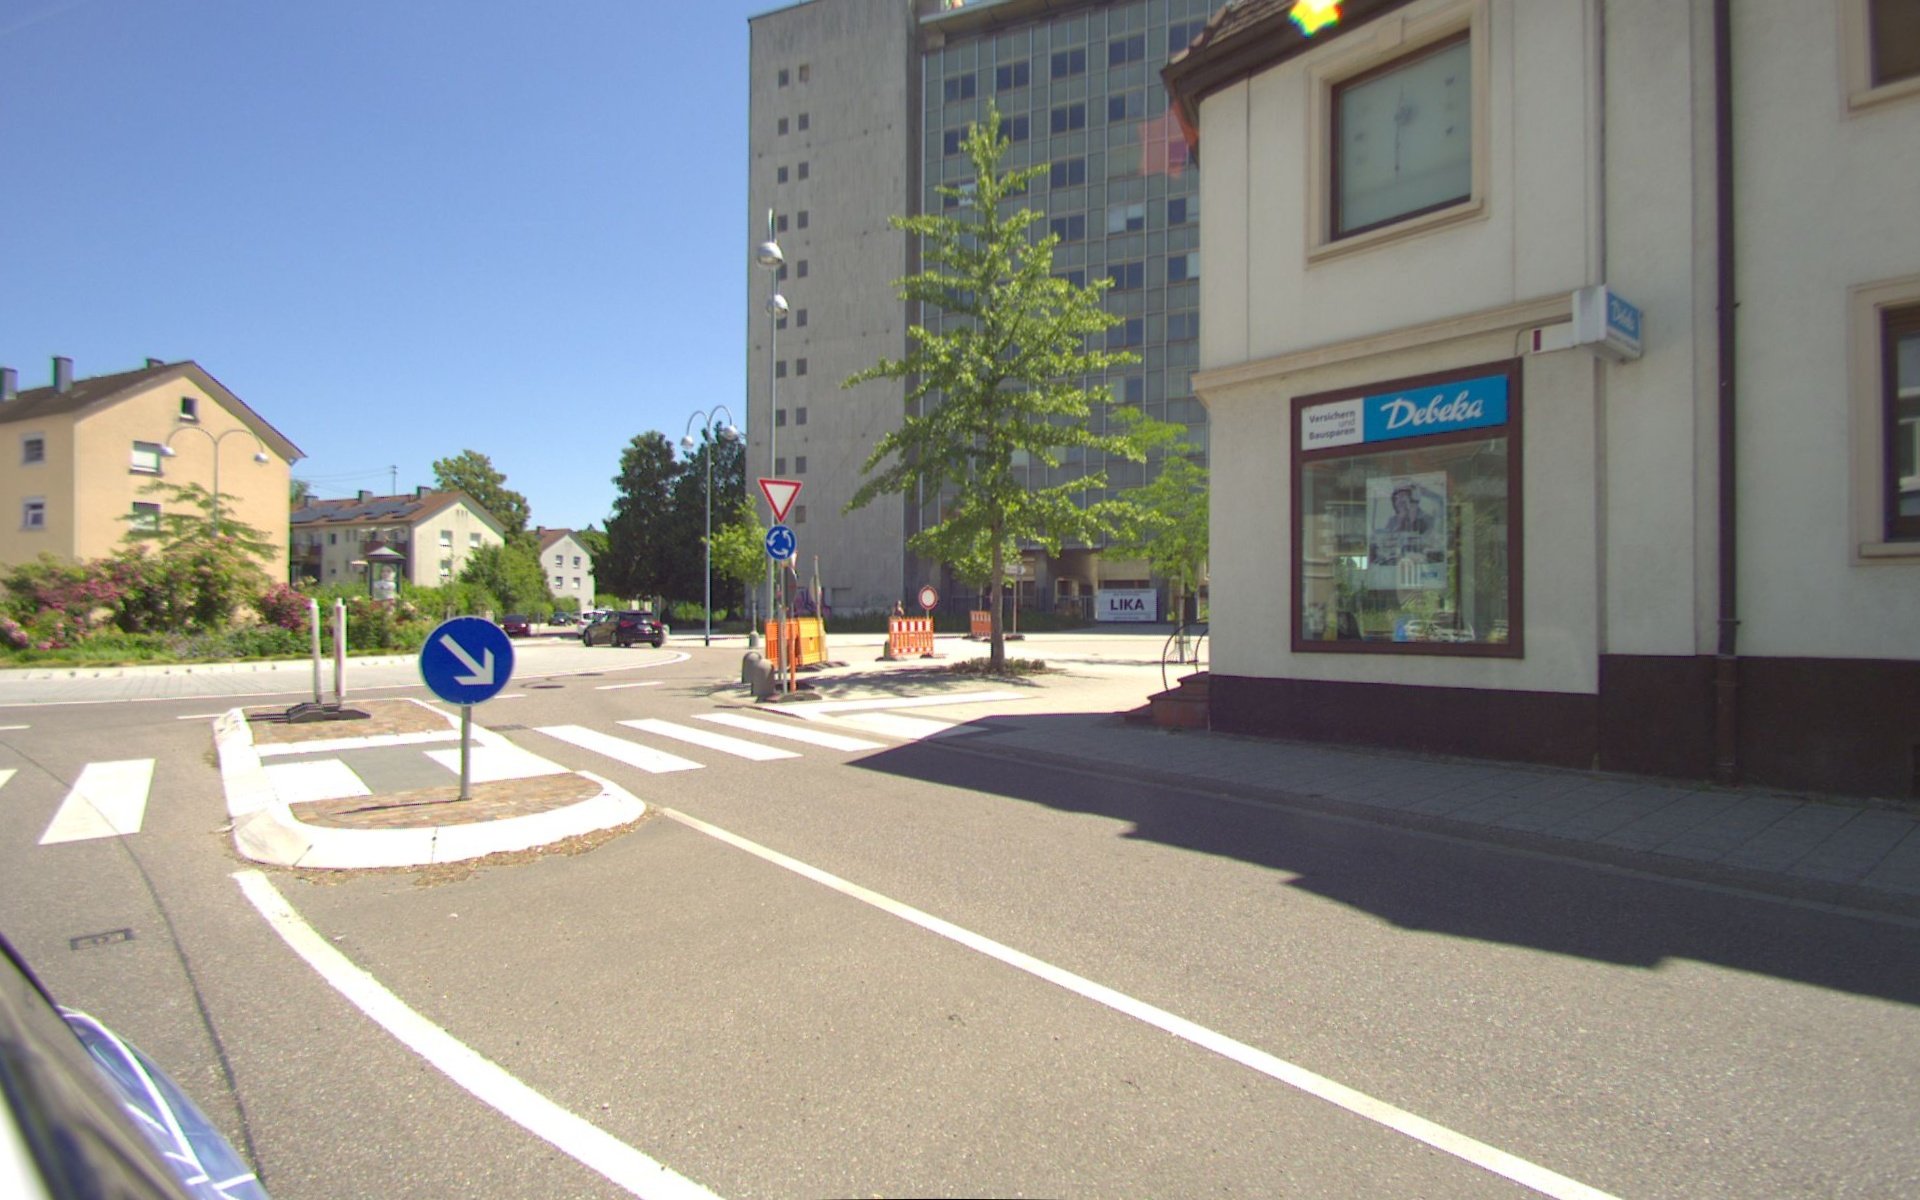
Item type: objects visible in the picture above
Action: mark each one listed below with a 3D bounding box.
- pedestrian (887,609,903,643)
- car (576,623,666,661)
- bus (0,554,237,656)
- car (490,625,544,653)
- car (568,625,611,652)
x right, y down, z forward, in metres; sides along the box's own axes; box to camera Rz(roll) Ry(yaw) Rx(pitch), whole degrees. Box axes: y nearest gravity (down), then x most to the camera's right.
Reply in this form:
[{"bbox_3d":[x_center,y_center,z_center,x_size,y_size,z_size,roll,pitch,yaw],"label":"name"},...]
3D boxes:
[{"bbox_3d":[-2.774,1.105,43.149,0.560,1.440,0.427,0,-1,20],"label":"pedestrian"},{"bbox_3d":[-12.814,1.551,38.124,1.705,1.305,4.004,3,-2,-43],"label":"car"},{"bbox_3d":[-30.127,0.212,32.464,2.902,3.085,12.509,-2,-1,13],"label":"bus"},{"bbox_3d":[-27.076,2.382,61.975,1.711,1.613,3.938,-1,-1,-2],"label":"car"},{"bbox_3d":[-19.631,2.045,53.750,1.755,1.366,4.064,1,-2,-14],"label":"car"}]
